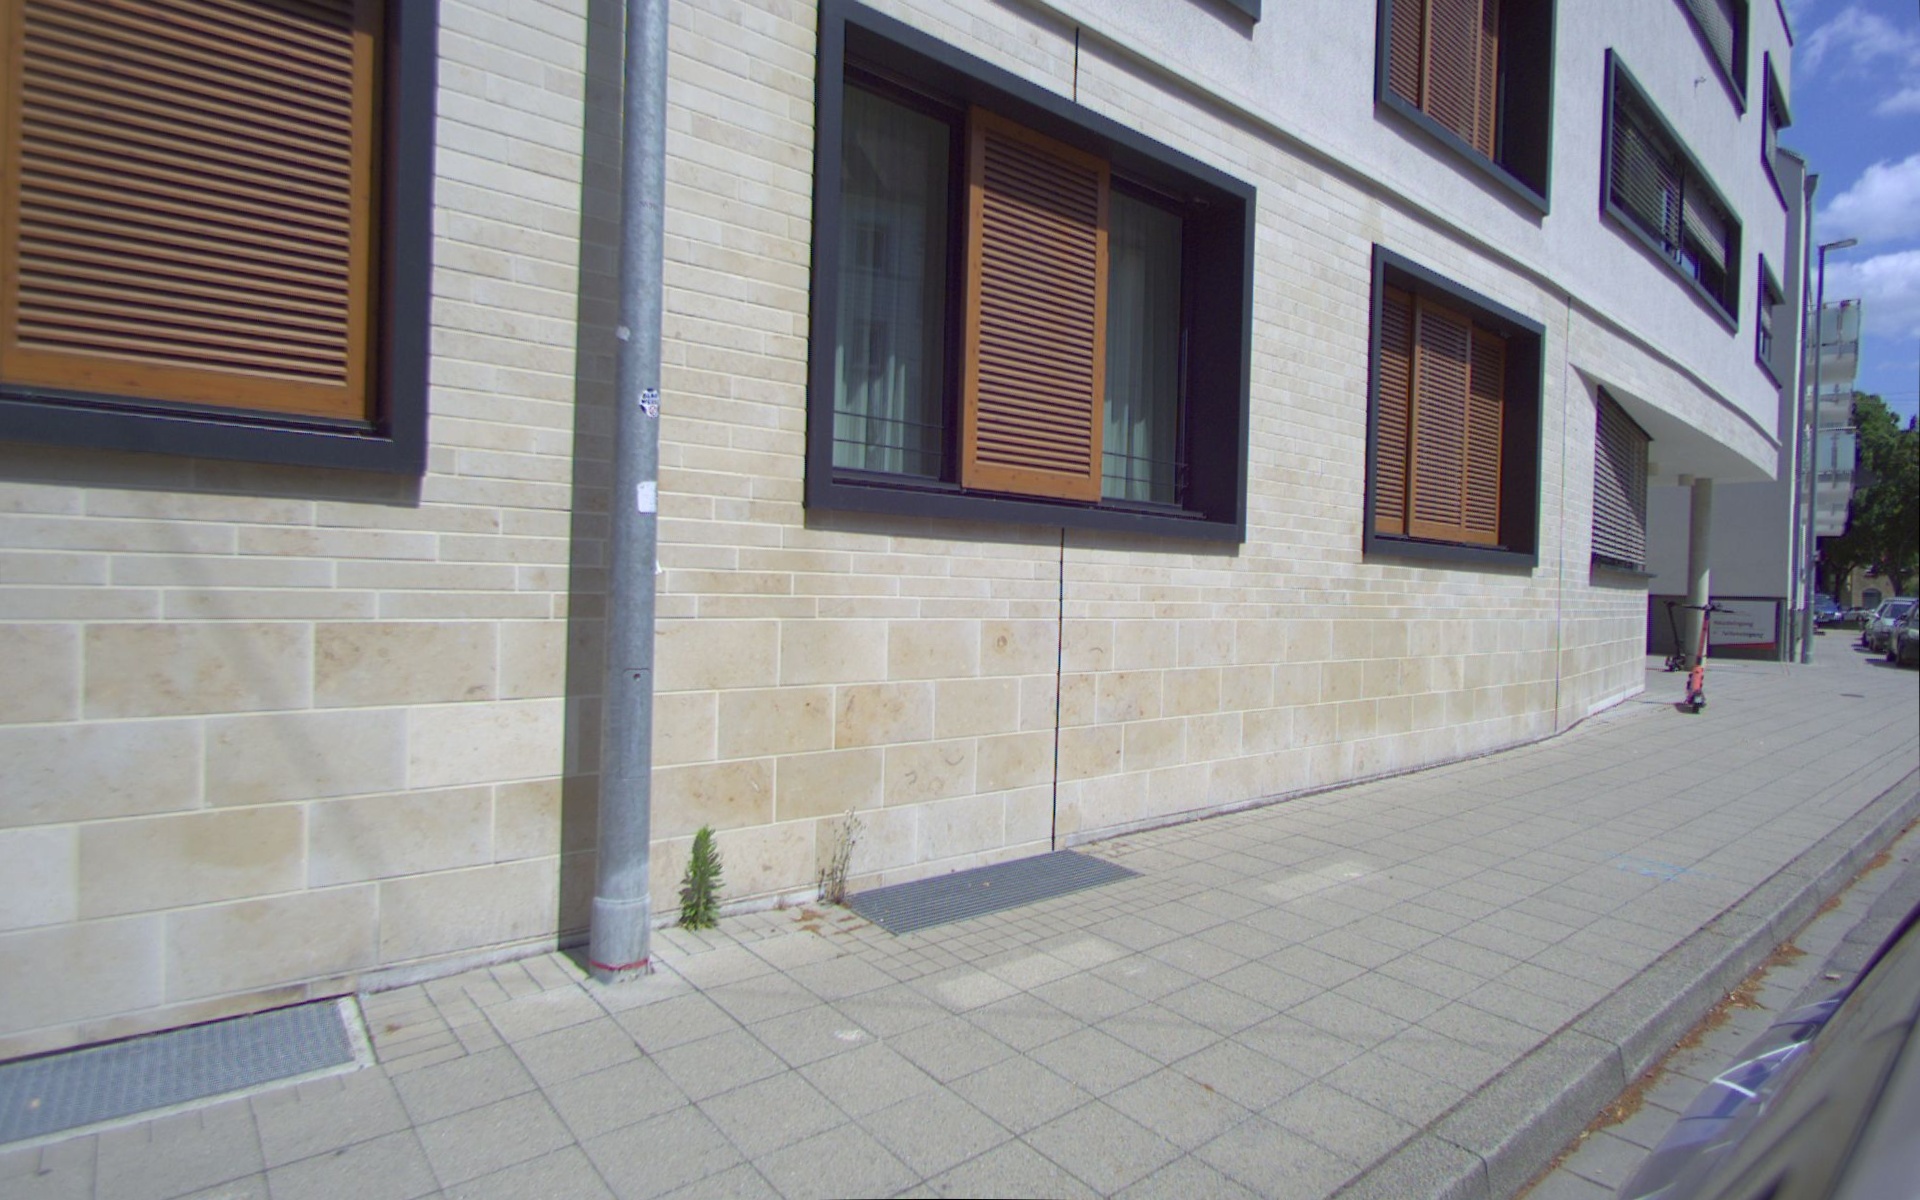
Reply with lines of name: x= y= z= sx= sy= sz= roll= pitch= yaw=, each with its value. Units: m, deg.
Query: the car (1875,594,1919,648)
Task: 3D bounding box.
car: x=28.928 y=0.634 z=30.491 sx=1.729 sy=1.450 sz=3.977 roll=8 pitch=5 yaw=45

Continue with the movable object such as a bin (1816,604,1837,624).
movable object such as a bin: x=43.151 y=0.702 z=50.422 sx=0.622 sy=0.973 sz=0.618 roll=1 pitch=1 yaw=-32

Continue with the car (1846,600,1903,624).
car: x=76.663 y=0.979 z=84.920 sx=1.749 sy=1.633 sz=3.860 roll=7 pitch=3 yaw=13

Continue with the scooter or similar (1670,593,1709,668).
scooter or similar: x=12.506 y=0.506 z=17.340 sx=0.421 sy=1.226 sz=1.296 roll=2 pitch=1 yaw=39

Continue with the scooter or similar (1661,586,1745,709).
scooter or similar: x=8.451 y=0.502 z=11.492 sx=0.581 sy=1.276 sz=1.347 roll=5 pitch=3 yaw=41

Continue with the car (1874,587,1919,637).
car: x=34.064 y=0.414 z=36.091 sx=3.735 sy=1.630 sz=1.730 roll=-1 pitch=4 yaw=-42

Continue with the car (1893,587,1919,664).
car: x=21.376 y=0.566 z=21.537 sx=1.798 sy=1.527 sz=4.484 roll=7 pitch=5 yaw=39

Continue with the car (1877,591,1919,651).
car: x=25.575 y=0.560 z=26.873 sx=1.592 sy=1.450 sz=3.652 roll=7 pitch=5 yaw=40
